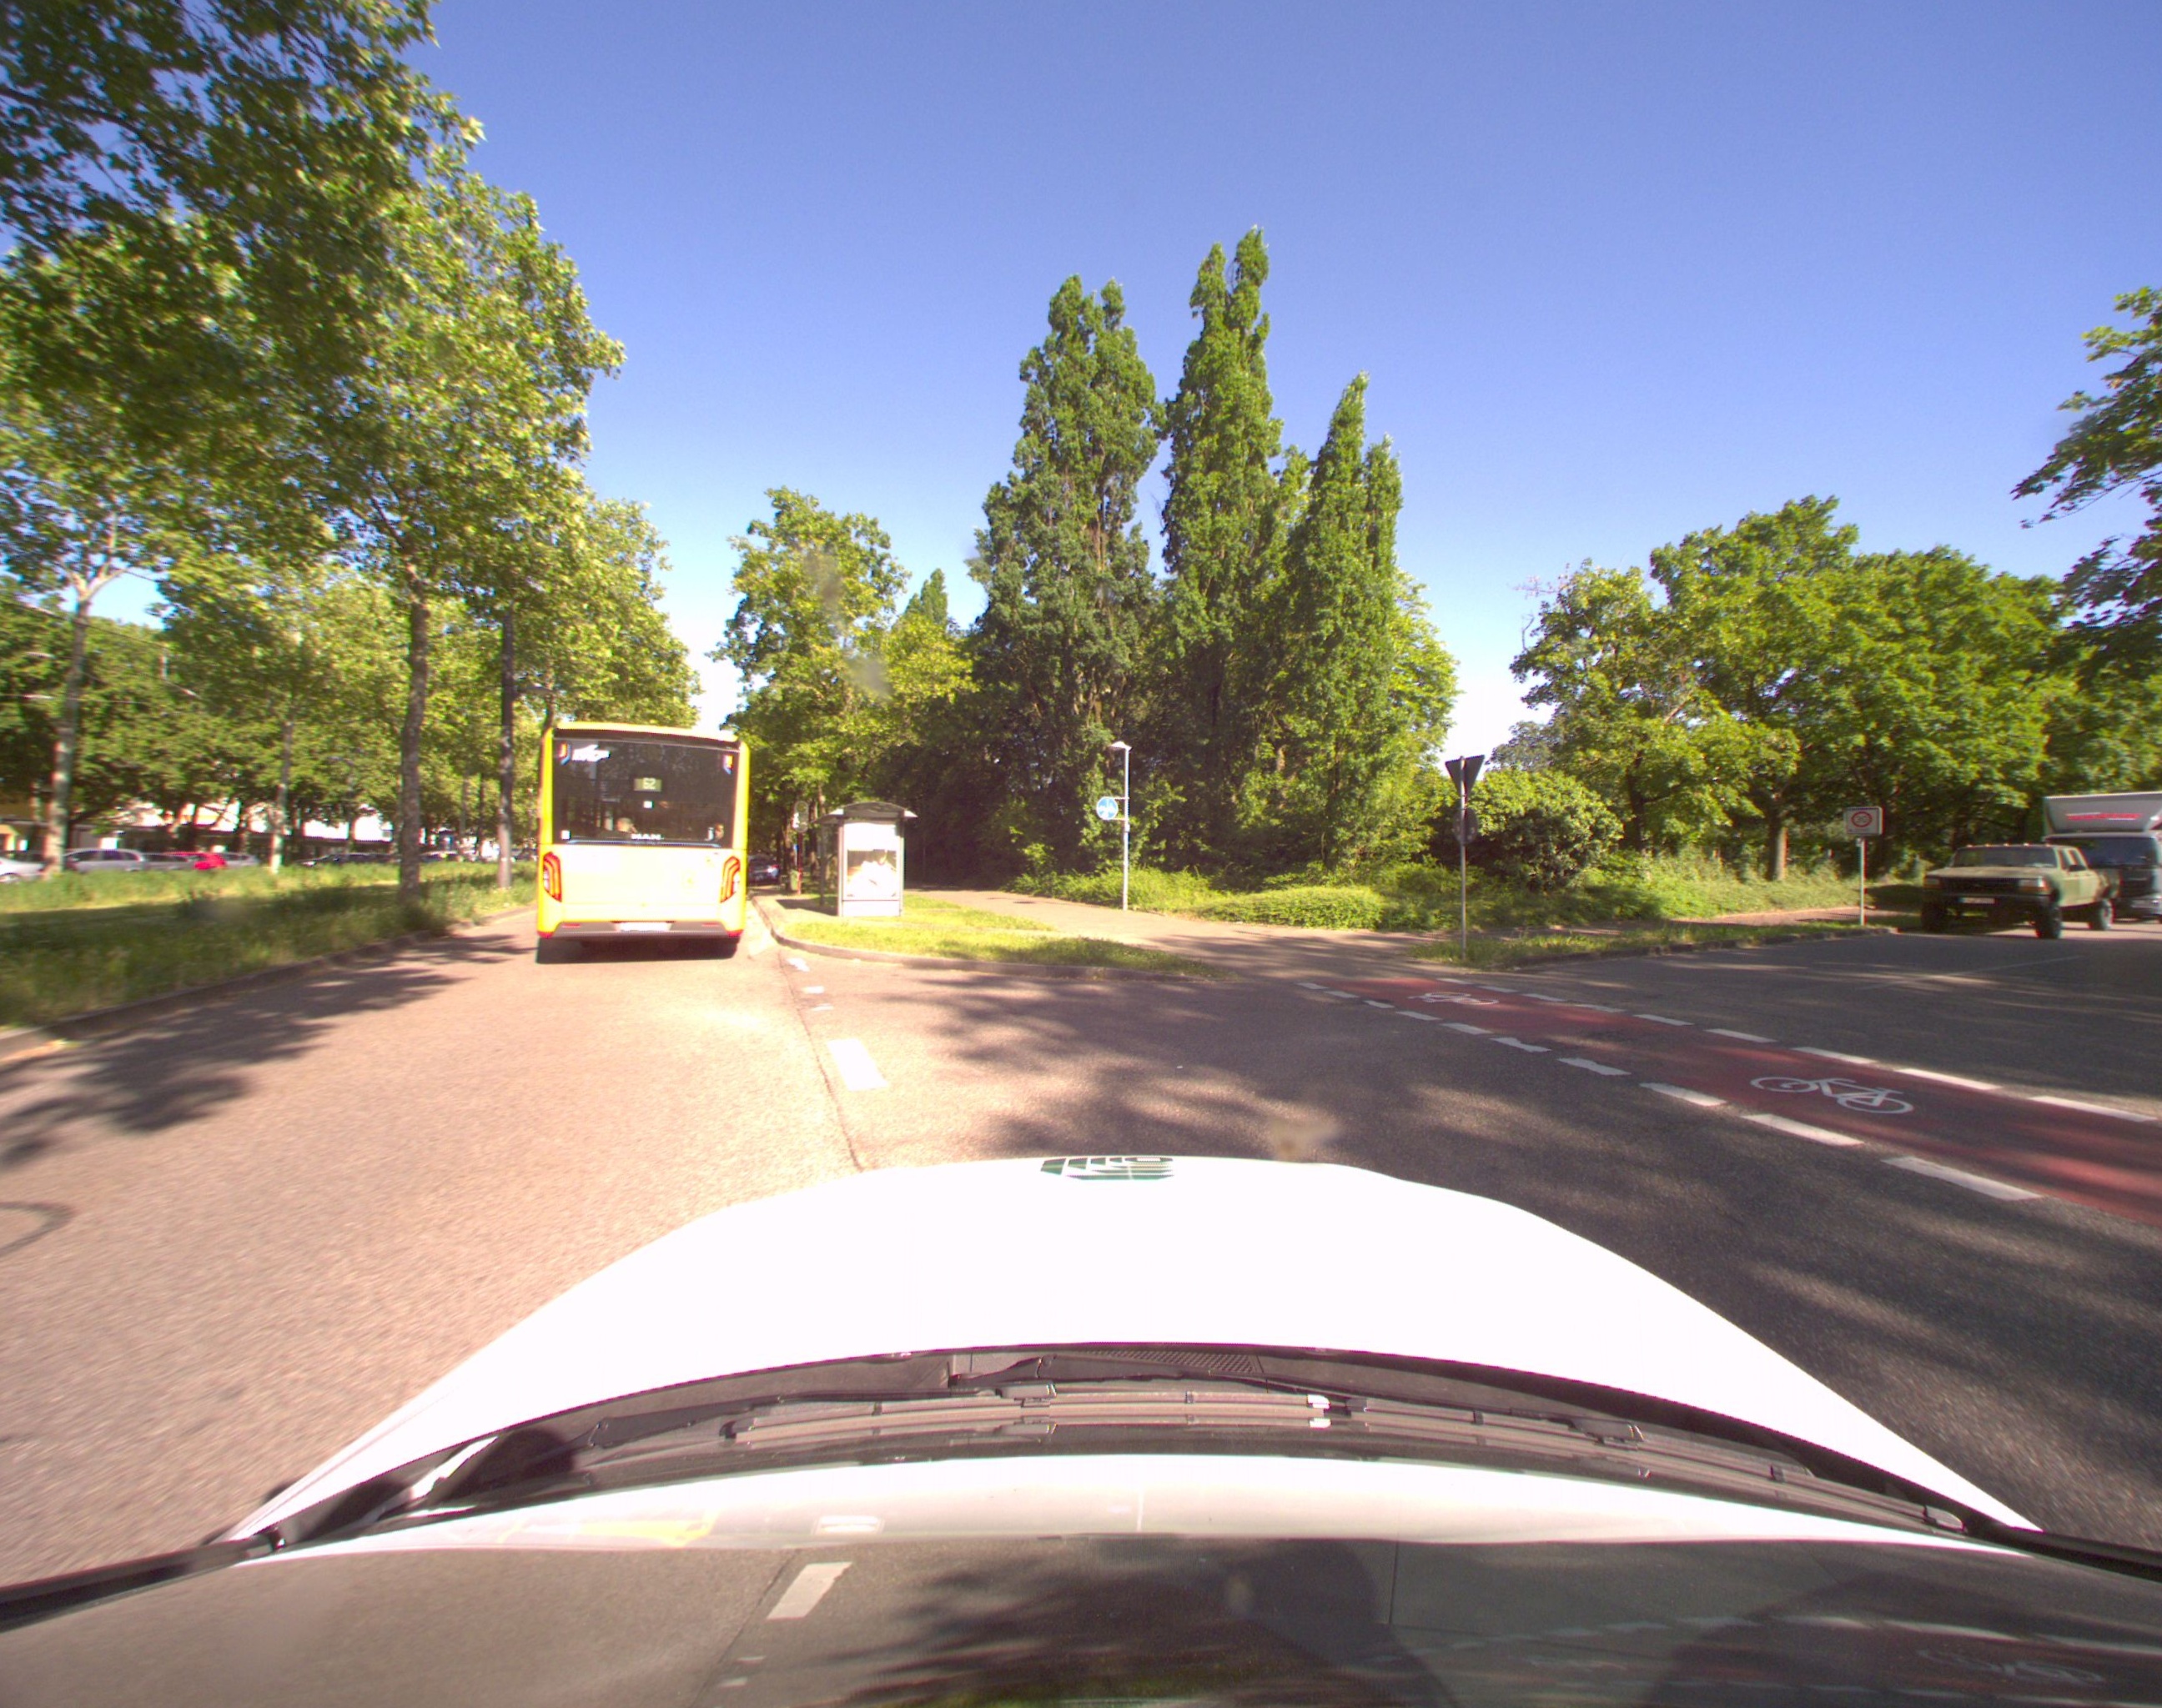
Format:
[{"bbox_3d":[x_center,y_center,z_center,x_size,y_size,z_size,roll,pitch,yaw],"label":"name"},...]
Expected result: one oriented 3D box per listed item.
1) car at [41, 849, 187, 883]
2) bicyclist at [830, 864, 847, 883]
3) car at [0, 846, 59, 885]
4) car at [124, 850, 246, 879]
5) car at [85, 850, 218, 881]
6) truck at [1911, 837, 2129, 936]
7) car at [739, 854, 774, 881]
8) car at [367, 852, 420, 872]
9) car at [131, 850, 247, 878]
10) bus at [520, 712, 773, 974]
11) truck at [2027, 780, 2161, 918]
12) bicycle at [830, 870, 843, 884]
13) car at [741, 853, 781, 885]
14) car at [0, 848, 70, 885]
[{"bbox_3d":[-45.019,0.534,38.027,1.778,1.510,4.021,0,0,22],"label":"car"},{"bbox_3d":[-20.868,1.683,70.194,1.186,1.661,1.019,1,-1,-30],"label":"bicyclist"},{"bbox_3d":[-42.614,0.442,31.159,1.778,1.510,4.021,0,0,22],"label":"car"},{"bbox_3d":[-48.328,0.548,44.039,1.778,1.510,4.021,0,0,22],"label":"car"},{"bbox_3d":[-46.685,0.555,41.024,1.778,1.510,4.021,0,0,22],"label":"car"},{"bbox_3d":[22.783,0.709,19.673,6.665,2.094,2.100,0,-1,-29],"label":"truck"},{"bbox_3d":[-19.069,0.741,47.804,1.802,1.510,3.970,0,0,-23],"label":"car"},{"bbox_3d":[-54.777,0.630,64.970,1.799,1.510,3.975,0,0,-18],"label":"car"},{"bbox_3d":[-50.170,0.552,45.904,1.778,1.510,4.021,0,0,22],"label":"car"},{"bbox_3d":[-7.930,-0.110,16.356,2.911,3.267,12.126,1,0,-22],"label":"bus"},{"bbox_3d":[31.509,-0.093,24.309,7.976,3.627,2.599,0,-1,-28],"label":"truck"},{"bbox_3d":[-21.046,1.972,70.081,0.761,1.107,1.783,1,-1,-30],"label":"bicycle"},{"bbox_3d":[-16.333,0.735,41.489,1.802,1.510,3.970,0,0,-23],"label":"car"},{"bbox_3d":[-44.557,0.514,33.076,1.778,1.510,4.023,0,0,25],"label":"car"}]
